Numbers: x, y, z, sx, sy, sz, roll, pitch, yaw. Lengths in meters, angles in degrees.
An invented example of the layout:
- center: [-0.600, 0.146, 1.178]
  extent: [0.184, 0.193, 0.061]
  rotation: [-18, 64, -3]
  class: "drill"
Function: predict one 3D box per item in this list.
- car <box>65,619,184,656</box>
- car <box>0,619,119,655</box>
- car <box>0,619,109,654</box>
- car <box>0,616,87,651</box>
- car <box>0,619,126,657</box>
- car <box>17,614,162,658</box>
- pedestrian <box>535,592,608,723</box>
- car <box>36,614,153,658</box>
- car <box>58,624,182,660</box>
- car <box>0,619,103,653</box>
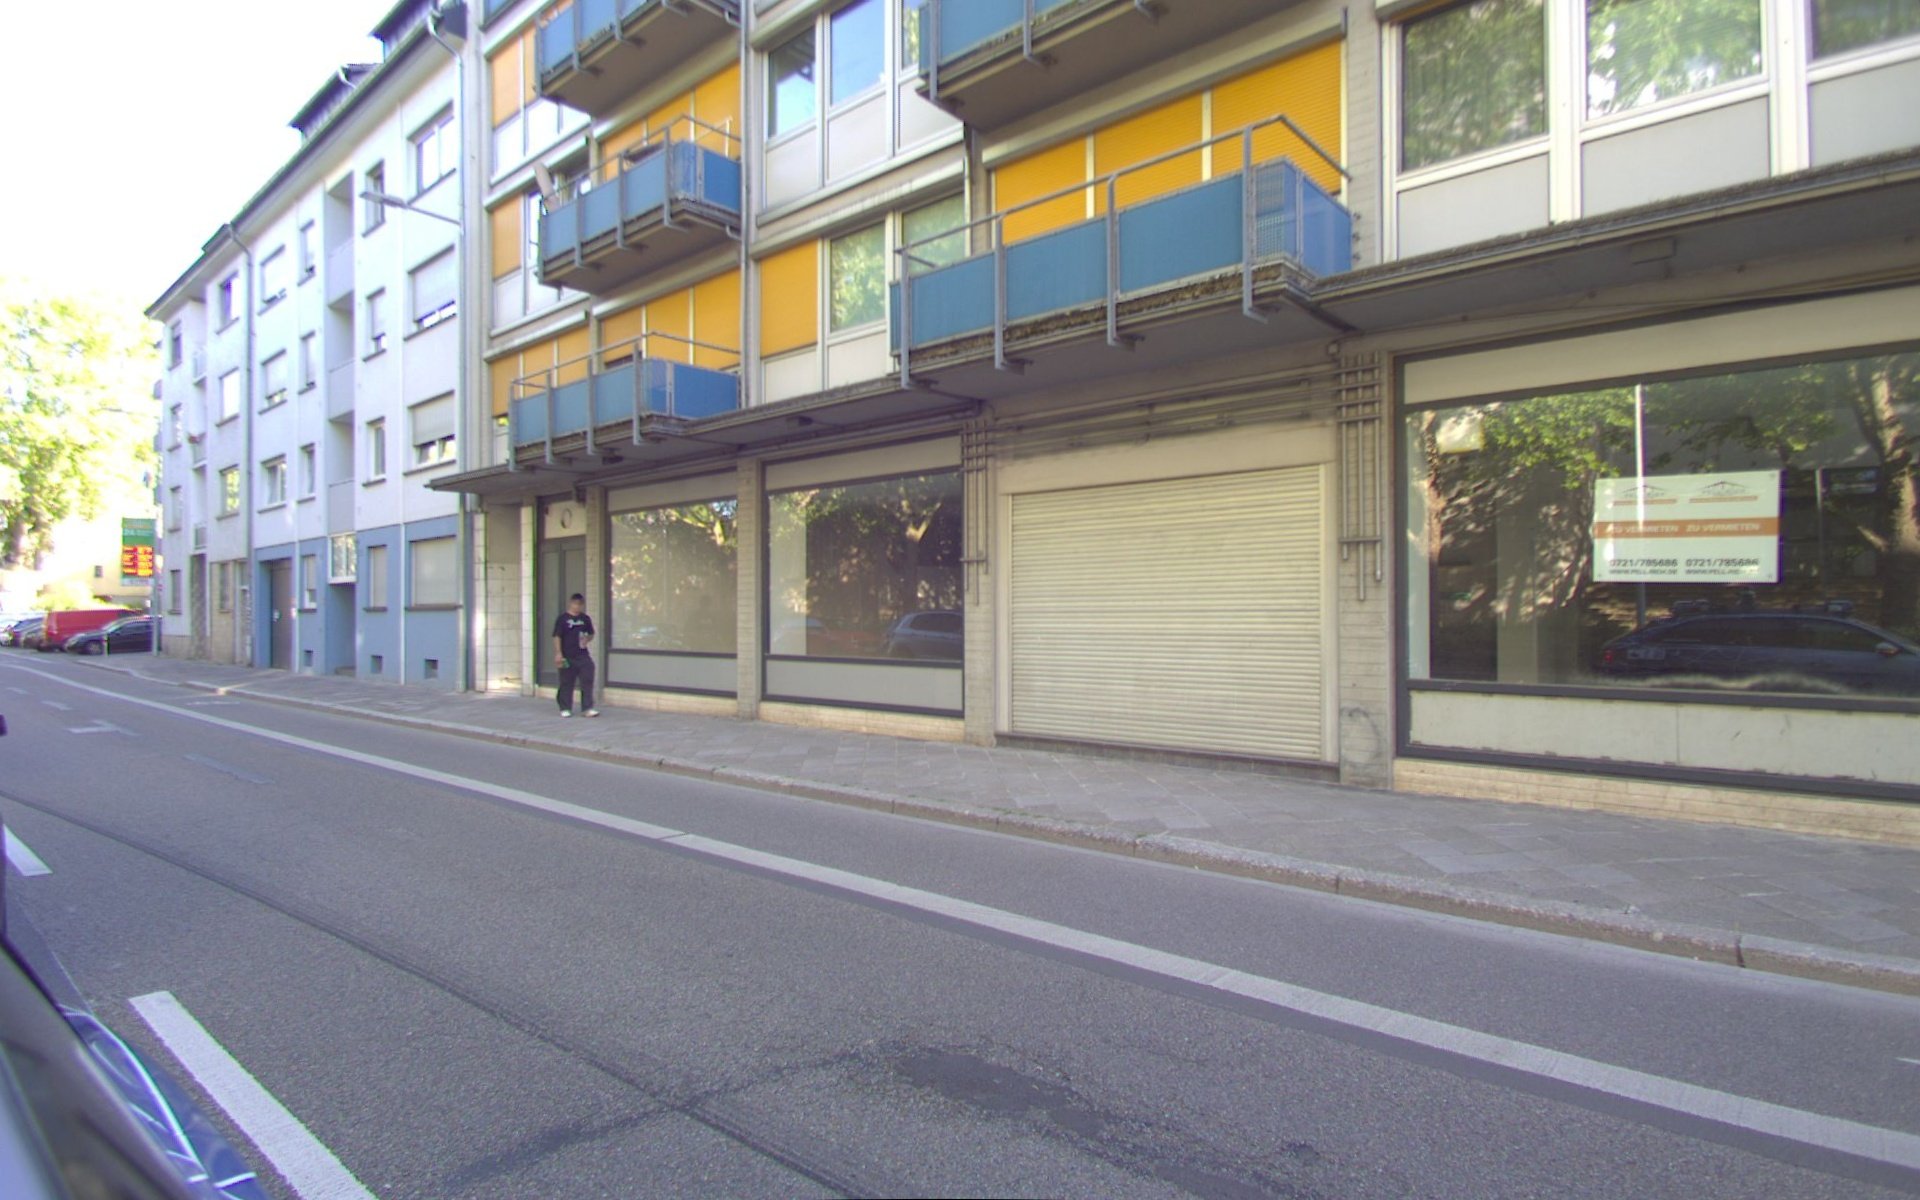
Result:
- center: [-37.862, 1.684, 45.941]
  extent: [1.742, 1.572, 3.946]
  rotation: [-1, -1, 41]
  class: "car"
- center: [-52.221, 2.115, 58.717]
  extent: [2.159, 1.952, 4.990]
  rotation: [-1, -1, 41]
  class: "car"
- center: [-54.107, 2.137, 60.354]
  extent: [2.082, 1.952, 4.928]
  rotation: [-1, -1, 41]
  class: "car"
- center: [-59.328, 2.104, 64.712]
  extent: [2.186, 2.164, 5.077]
  rotation: [-1, -1, 41]
  class: "car"
- center: [-50.282, 2.092, 56.829]
  extent: [2.186, 1.952, 5.077]
  rotation: [-1, -1, 41]
  class: "car"
- center: [-42.676, 1.707, 49.713]
  extent: [2.256, 1.995, 5.156]
  rotation: [-1, -1, 41]
  class: "car"
- center: [-5.467, 0.784, 14.234]
  extent: [0.793, 1.785, 0.655]
  rotation: [-1, -1, 41]
  class: "pedestrian"
- center: [-40.575, 1.640, 47.515]
  extent: [1.866, 1.952, 3.946]
  rotation: [-1, -1, 41]
  class: "car"
- center: [-36.537, 1.794, 44.075]
  extent: [1.742, 1.431, 3.946]
  rotation: [-1, -1, 41]
  class: "car"
- center: [-55.954, 2.164, 61.986]
  extent: [2.314, 1.952, 4.978]
  rotation: [-1, -1, 41]
  class: "car"
